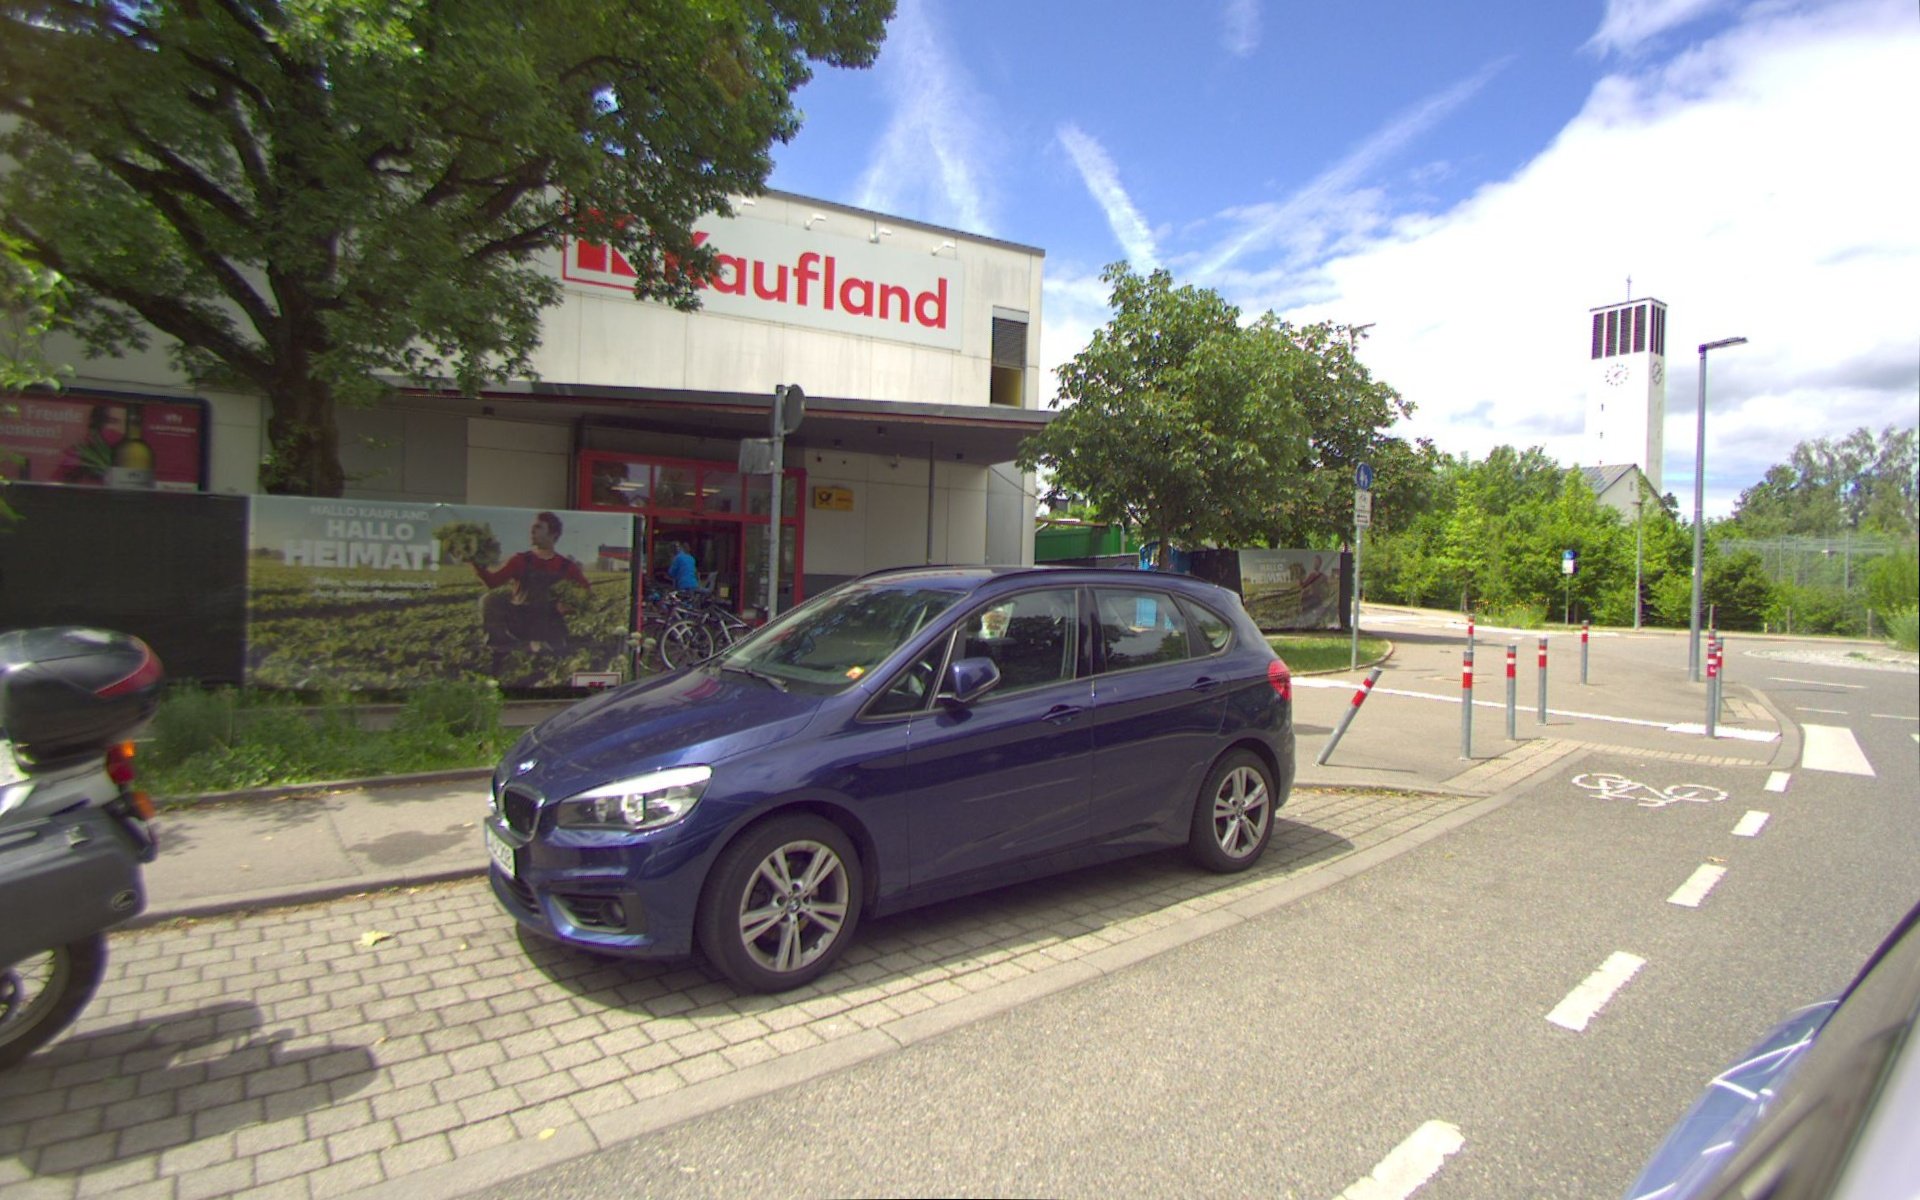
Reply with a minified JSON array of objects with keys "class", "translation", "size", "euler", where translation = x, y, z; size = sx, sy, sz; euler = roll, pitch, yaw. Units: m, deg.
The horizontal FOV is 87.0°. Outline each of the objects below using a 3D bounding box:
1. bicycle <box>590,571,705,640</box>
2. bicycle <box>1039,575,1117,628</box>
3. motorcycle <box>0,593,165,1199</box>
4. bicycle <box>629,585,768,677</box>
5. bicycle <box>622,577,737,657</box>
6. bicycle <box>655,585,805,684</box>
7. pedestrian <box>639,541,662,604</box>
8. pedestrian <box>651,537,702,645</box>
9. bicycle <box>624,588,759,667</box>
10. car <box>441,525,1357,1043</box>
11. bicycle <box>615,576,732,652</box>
[{"class":"bicycle","translation":[-5.471,0.092,17.714],"size":[1.873,1.170,0.531],"euler":[0,0,-22]},{"class":"bicycle","translation":[2.860,0.019,24.535],"size":[1.758,1.249,0.707],"euler":[1,0,30]},{"class":"motorcycle","translation":[-3.154,0.678,2.182],"size":[2.218,1.321,1.075],"euler":[0,4,-37]},{"class":"bicycle","translation":[-3.406,0.391,13.276],"size":[1.736,1.170,0.502],"euler":[0,0,-11]},{"class":"bicycle","translation":[-4.265,0.246,15.431],"size":[1.627,1.170,0.426],"euler":[0,0,-26]},{"class":"bicycle","translation":[-2.827,0.415,12.472],"size":[1.753,1.170,0.452],"euler":[0,0,-15]},{"class":"pedestrian","translation":[-7.971,-0.703,26.044],"size":[0.485,1.586,0.628],"euler":[0,1,-24]},{"class":"pedestrian","translation":[-4.800,-0.168,17.107],"size":[0.732,1.778,0.626],"euler":[1,3,-23]},{"class":"bicycle","translation":[-3.793,0.369,14.342],"size":[1.766,1.053,0.522],"euler":[0,2,-33]},{"class":"car","translation":[-0.071,0.515,5.196],"size":[4.348,1.597,1.922],"euler":[0,3,-38]},{"class":"bicycle","translation":[-4.533,0.213,16.057],"size":[1.731,1.170,0.440],"euler":[0,0,-27]}]
